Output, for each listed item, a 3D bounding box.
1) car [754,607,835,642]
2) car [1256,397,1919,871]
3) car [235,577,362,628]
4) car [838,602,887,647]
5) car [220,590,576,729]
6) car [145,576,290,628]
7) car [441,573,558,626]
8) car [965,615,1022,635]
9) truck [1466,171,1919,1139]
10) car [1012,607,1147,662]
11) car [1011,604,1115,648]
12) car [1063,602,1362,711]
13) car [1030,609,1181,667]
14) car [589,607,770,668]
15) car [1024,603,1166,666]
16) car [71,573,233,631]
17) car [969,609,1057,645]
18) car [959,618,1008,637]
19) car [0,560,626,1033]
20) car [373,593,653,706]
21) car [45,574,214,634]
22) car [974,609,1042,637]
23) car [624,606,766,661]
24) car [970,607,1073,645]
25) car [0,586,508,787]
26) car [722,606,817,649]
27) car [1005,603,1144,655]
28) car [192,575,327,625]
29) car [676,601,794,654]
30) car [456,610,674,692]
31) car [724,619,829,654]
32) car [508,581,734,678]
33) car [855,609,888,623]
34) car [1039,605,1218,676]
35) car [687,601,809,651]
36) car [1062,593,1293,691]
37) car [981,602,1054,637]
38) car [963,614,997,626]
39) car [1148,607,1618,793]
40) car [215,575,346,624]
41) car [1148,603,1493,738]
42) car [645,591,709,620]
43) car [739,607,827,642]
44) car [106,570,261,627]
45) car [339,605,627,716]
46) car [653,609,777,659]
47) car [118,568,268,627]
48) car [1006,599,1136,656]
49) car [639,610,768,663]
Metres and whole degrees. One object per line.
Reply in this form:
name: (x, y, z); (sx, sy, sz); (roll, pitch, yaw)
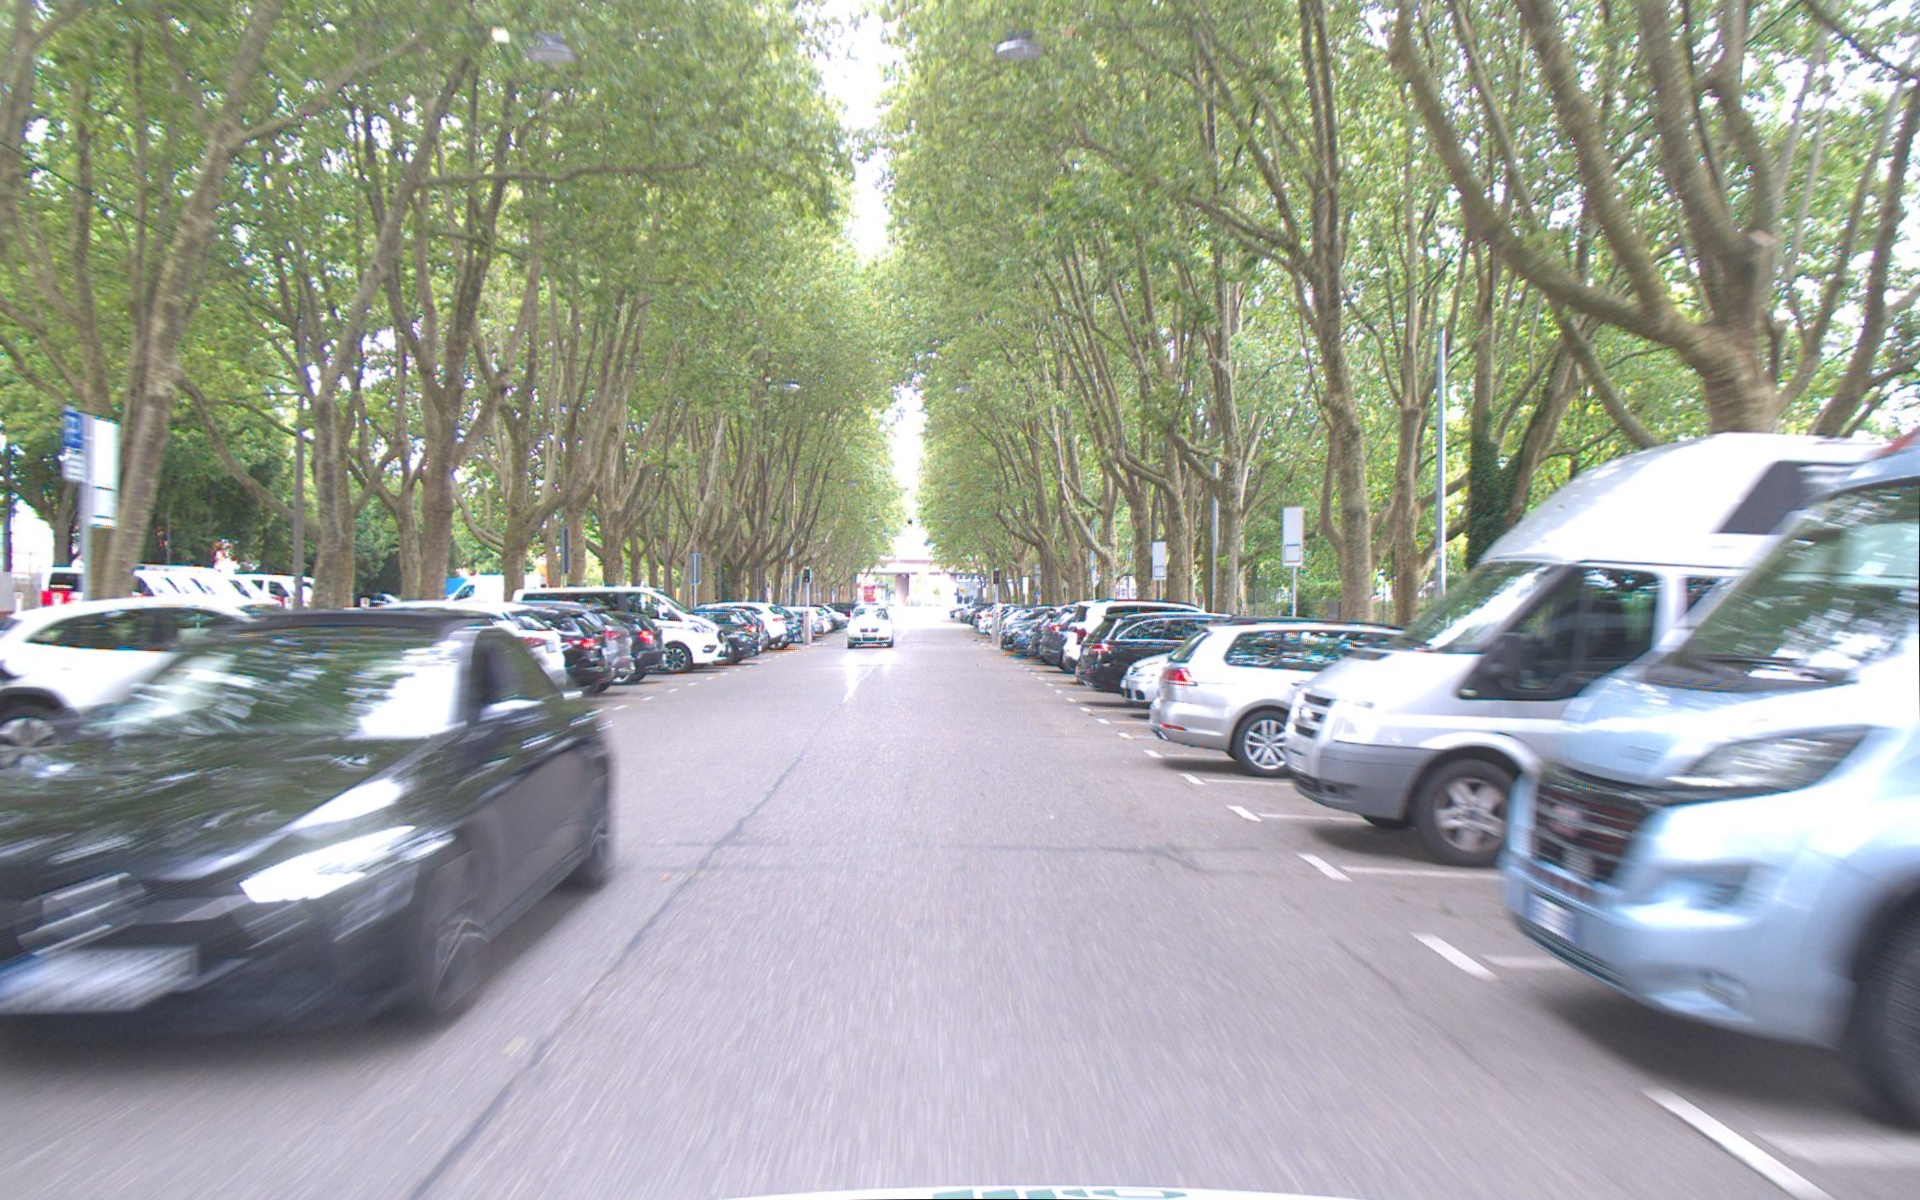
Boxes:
car: (-7.818, 1.142, 78.288); (3.751, 1.523, 1.693); (-1, 0, -4)
car: (4.734, 0.237, 10.979); (5.122, 2.736, 1.957); (2, -1, -1)
car: (-35.340, 0.154, 88.454); (5.880, 2.571, 1.999); (1, 0, -2)
car: (-3.467, 0.855, 59.345); (1.655, 1.497, 3.837); (-1, 0, -3)
car: (-7.714, 0.792, 23.061); (4.254, 1.697, 1.999); (-2, 0, -3)
car: (-35.209, 0.089, 78.530); (5.880, 2.279, 1.999); (1, 0, -2)
car: (-24.617, -0.021, 88.540); (5.668, 2.642, 2.000); (1, 0, -1)
car: (2.699, 1.976, 132.888); (4.478, 1.513, 2.001); (1, -1, 4)
truck: (5.221, 0.230, 5.886); (6.166, 2.762, 2.097); (1, 0, -2)
car: (3.479, 0.999, 48.598); (3.750, 1.481, 1.693); (1, 0, -3)
car: (3.777, 0.952, 61.037); (3.699, 1.495, 1.666); (1, 0, -2)
car: (3.947, 0.875, 26.276); (4.412, 1.552, 1.702); (2, 0, -3)
car: (3.809, 0.995, 43.616); (3.750, 1.413, 1.693); (1, 0, -3)
car: (-7.293, 0.968, 43.239); (4.355, 1.478, 1.775); (-1, 0, 3)
car: (3.746, 0.955, 46.231); (3.750, 1.635, 1.693); (1, 0, -3)
car: (-34.579, 0.102, 70.915); (5.880, 2.292, 1.999); (1, 0, -2)
car: (2.562, 1.317, 80.870); (4.085, 1.624, 1.853); (1, 0, -5)
car: (1.993, 2.313, 140.113); (4.088, 1.467, 1.732); (1, -1, 4)
car: (-2.536, 0.610, 7.124); (1.622, 1.388, 4.108); (-2, 0, -5)
car: (-7.588, 0.820, 28.449); (4.254, 1.697, 1.999); (-2, 0, -3)
car: (-34.318, 0.160, 68.453); (5.880, 2.292, 1.999); (1, 0, -2)
car: (2.632, 1.281, 91.214); (3.574, 1.449, 1.983); (1, 0, -5)
car: (-7.624, 0.952, 47.834); (3.917, 1.497, 1.536); (-1, 0, -4)
car: (2.613, 1.119, 70.812); (4.213, 1.495, 1.622); (1, 0, -5)
car: (-6.583, 0.745, 15.245); (4.292, 1.625, 1.999); (-1, 0, -3)
car: (-7.793, 1.117, 67.839); (3.751, 1.636, 1.693); (-1, 0, -4)
car: (3.518, 0.893, 51.272); (4.127, 1.476, 1.609); (1, 0, -3)
car: (-35.305, 0.006, 83.427); (5.880, 2.370, 1.999); (1, 0, -2)
car: (-7.501, 0.919, 55.348); (3.751, 1.656, 1.951); (-1, 0, -4)
car: (-7.748, 0.984, 32.713); (3.908, 1.438, 1.682); (-2, 0, -3)
car: (-7.757, 1.535, 70.255); (4.314, 1.388, 1.693); (-1, 0, -4)
car: (-7.743, 0.657, 38.117); (4.795, 2.054, 1.919); (-1, -1, -2)
car: (-10.421, 1.881, 194.873); (3.734, 1.542, 1.686); (1, -1, 2)
car: (3.874, 0.922, 38.441); (3.907, 1.512, 1.693); (1, 0, -3)
car: (-7.397, 0.915, 58.048); (3.984, 1.636, 1.799); (-1, 0, 1)
car: (4.307, 0.829, 33.163); (4.297, 1.786, 1.800); (2, 0, -3)
car: (2.979, 1.012, 86.078); (3.574, 1.696, 1.517); (1, 0, -5)
car: (2.569, 2.577, 214.625); (4.287, 1.549, 1.731); (1, -1, 0)
car: (3.951, 0.919, 15.920); (4.035, 1.454, 1.703); (3, -1, 0)
car: (-35.227, -0.011, 85.845); (5.880, 2.345, 1.999); (1, 0, -2)
car: (4.532, 0.867, 21.187); (3.963, 1.552, 1.813); (2, 0, -3)
car: (-23.588, 0.484, 137.959); (4.976, 2.271, 1.535); (1, -1, -3)
car: (-7.769, 1.082, 72.895); (3.751, 1.455, 1.693); (-1, 0, -4)
car: (-34.525, -0.066, 73.671); (5.880, 2.358, 1.999); (1, 0, -2)
car: (-7.301, 0.898, 25.630); (3.908, 1.501, 1.841); (-2, 0, -3)
car: (-7.799, 1.069, 52.930); (3.751, 1.497, 1.693); (-1, 0, -4)
car: (-35.340, -0.103, 76.269); (5.880, 2.571, 1.999); (1, 0, -2)
car: (3.560, 0.868, 53.370); (4.030, 1.699, 1.694); (1, 0, -1)
car: (-7.868, 1.111, 51.012); (3.680, 1.500, 1.863); (-2, 0, -3)
